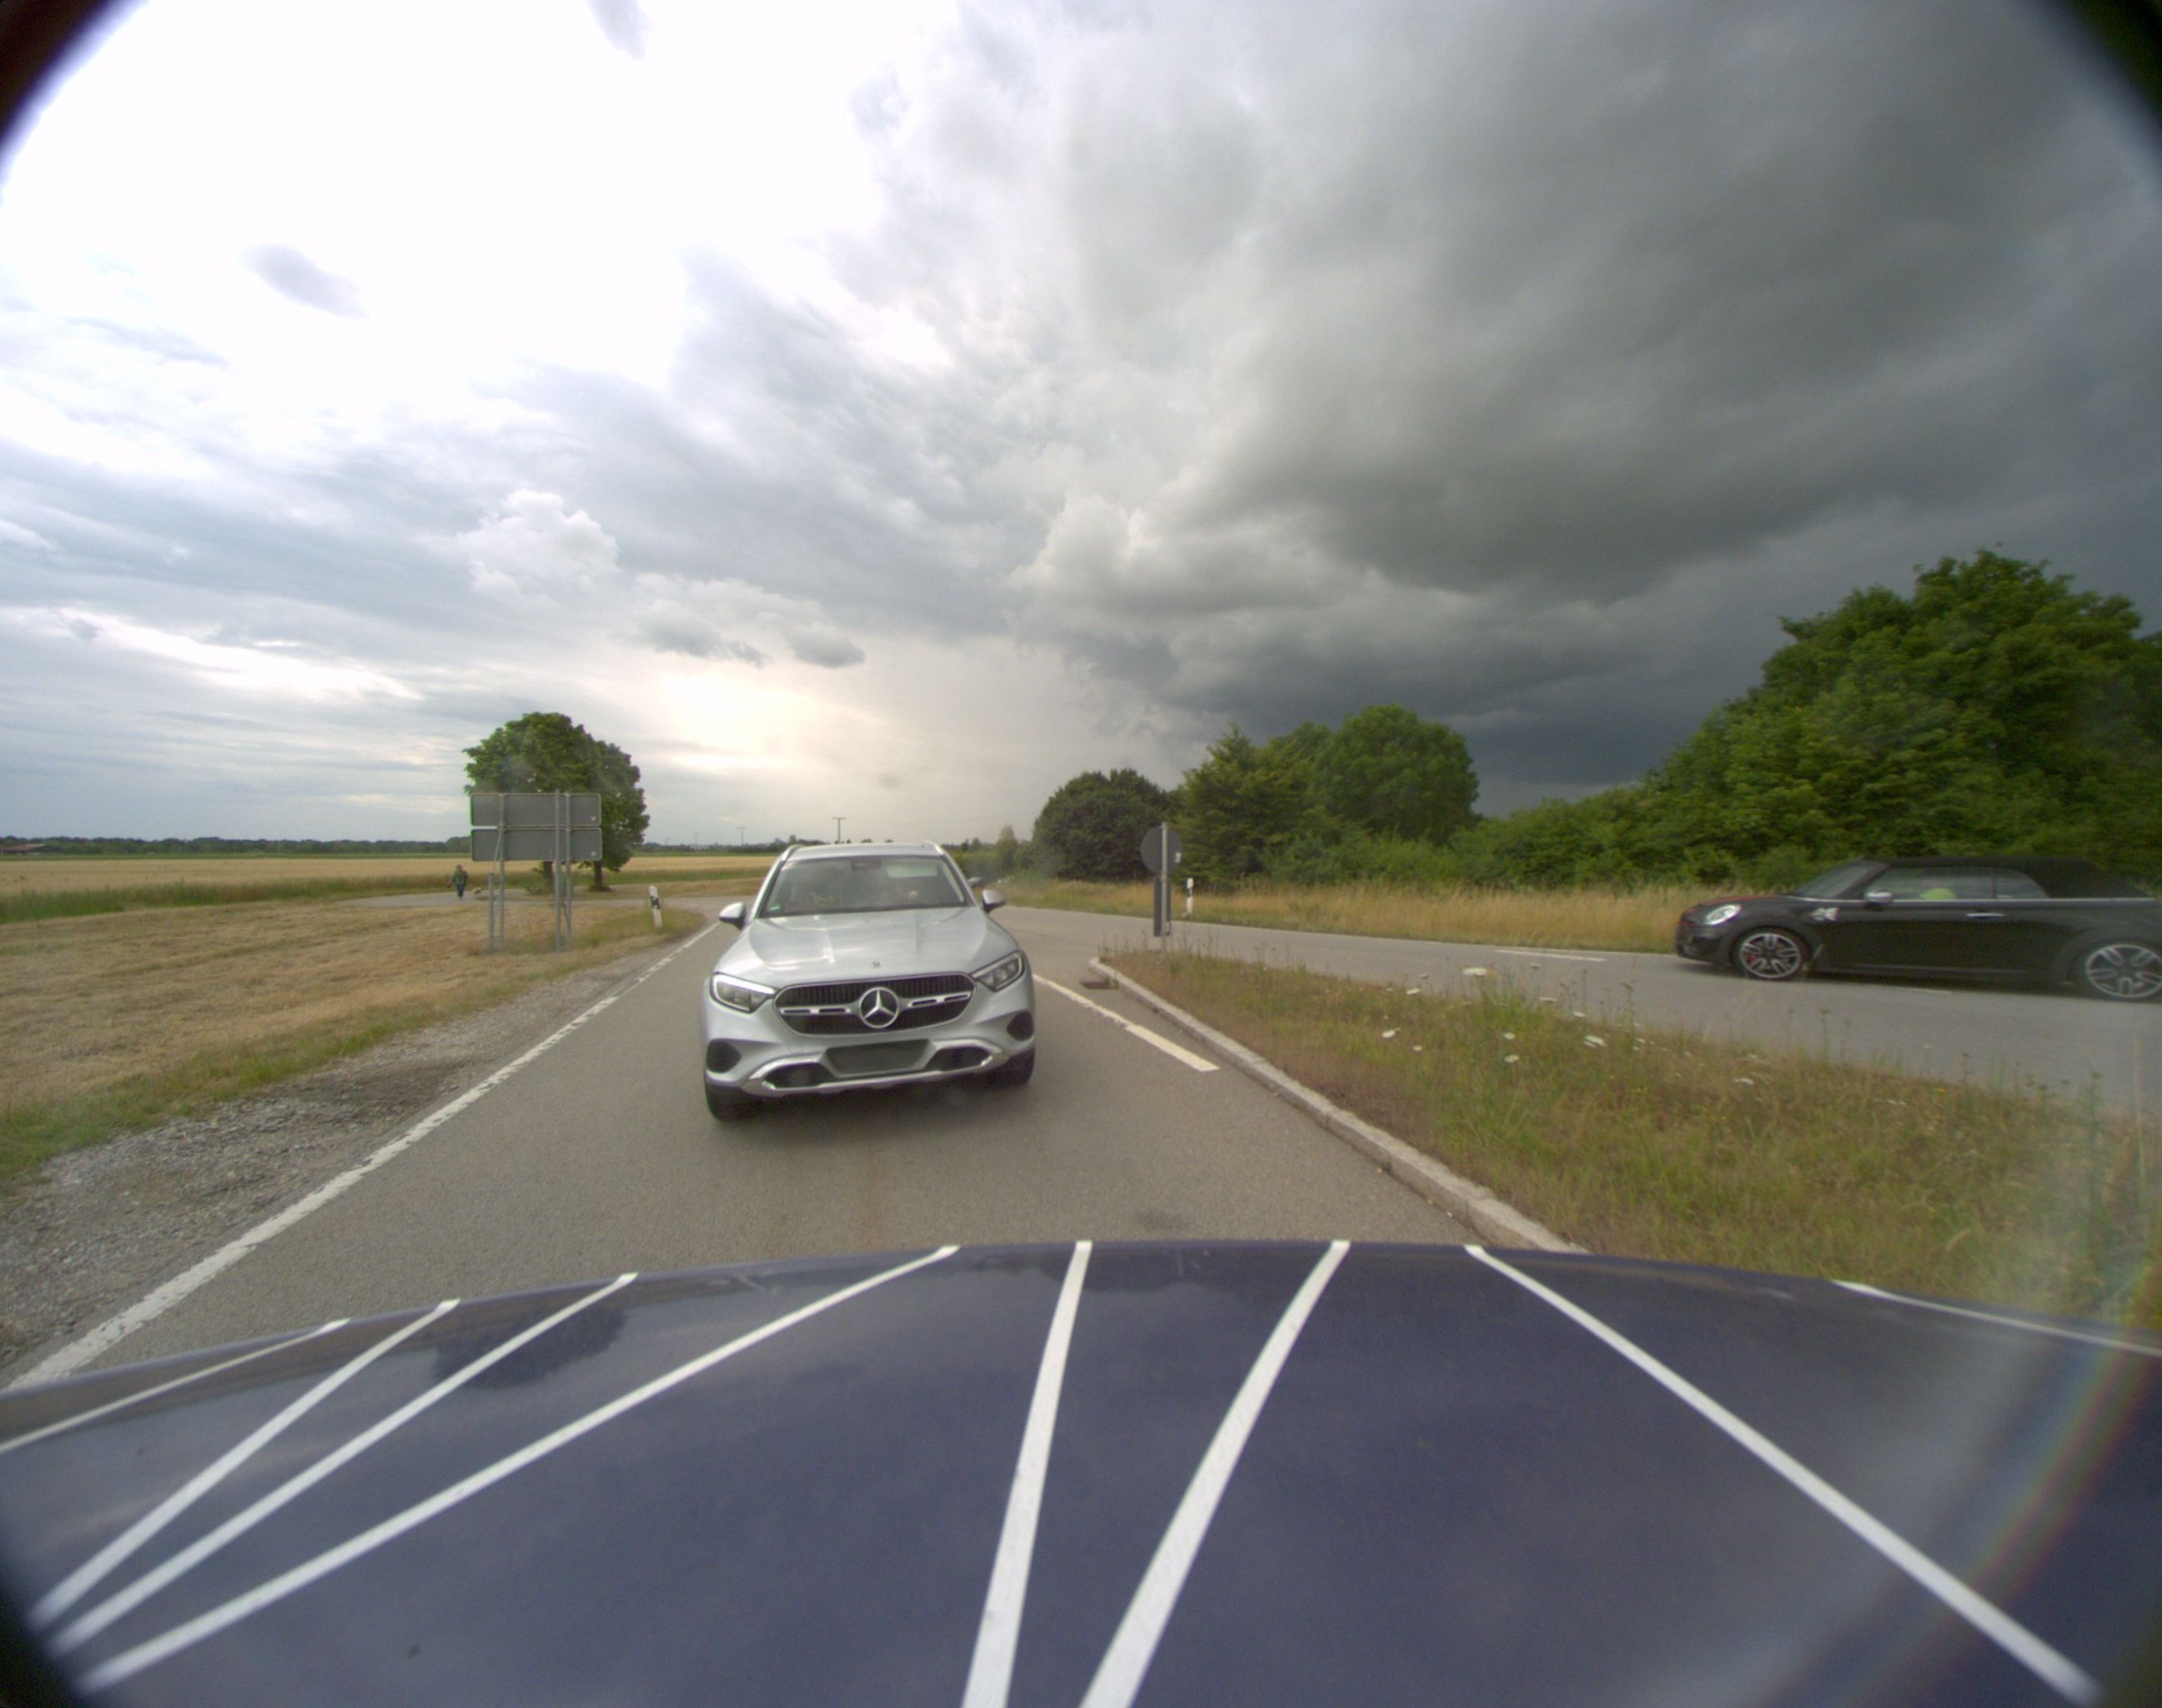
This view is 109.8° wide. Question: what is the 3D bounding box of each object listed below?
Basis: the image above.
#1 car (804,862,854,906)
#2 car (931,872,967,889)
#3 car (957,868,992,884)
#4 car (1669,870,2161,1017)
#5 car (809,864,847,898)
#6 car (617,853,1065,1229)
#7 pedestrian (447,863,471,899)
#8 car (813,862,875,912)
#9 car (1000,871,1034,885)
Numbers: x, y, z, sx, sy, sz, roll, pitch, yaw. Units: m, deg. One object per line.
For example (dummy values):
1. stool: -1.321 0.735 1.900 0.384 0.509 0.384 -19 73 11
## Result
1. car: -10.240 1.141 30.823 1.723 1.486 4.630 -3 1 -19
2. car: -12.884 2.543 74.472 1.818 1.524 4.005 0 0 18
3. car: -11.132 2.295 79.806 1.818 1.524 4.007 0 0 24
4. car: 9.259 0.864 8.410 4.158 1.344 1.678 -1 -1 30
5. car: -13.054 1.327 39.182 1.723 1.486 4.206 -3 1 -19
6. car: -1.681 0.837 5.783 1.998 1.577 4.387 -3 1 -16
7. pedestrian: -28.074 1.208 34.286 0.775 1.602 0.942 -1 1 -37
8. car: -7.839 1.023 24.963 1.723 1.345 4.206 -3 1 -19
9. car: -7.147 2.678 85.495 1.817 1.524 4.008 0 0 30
